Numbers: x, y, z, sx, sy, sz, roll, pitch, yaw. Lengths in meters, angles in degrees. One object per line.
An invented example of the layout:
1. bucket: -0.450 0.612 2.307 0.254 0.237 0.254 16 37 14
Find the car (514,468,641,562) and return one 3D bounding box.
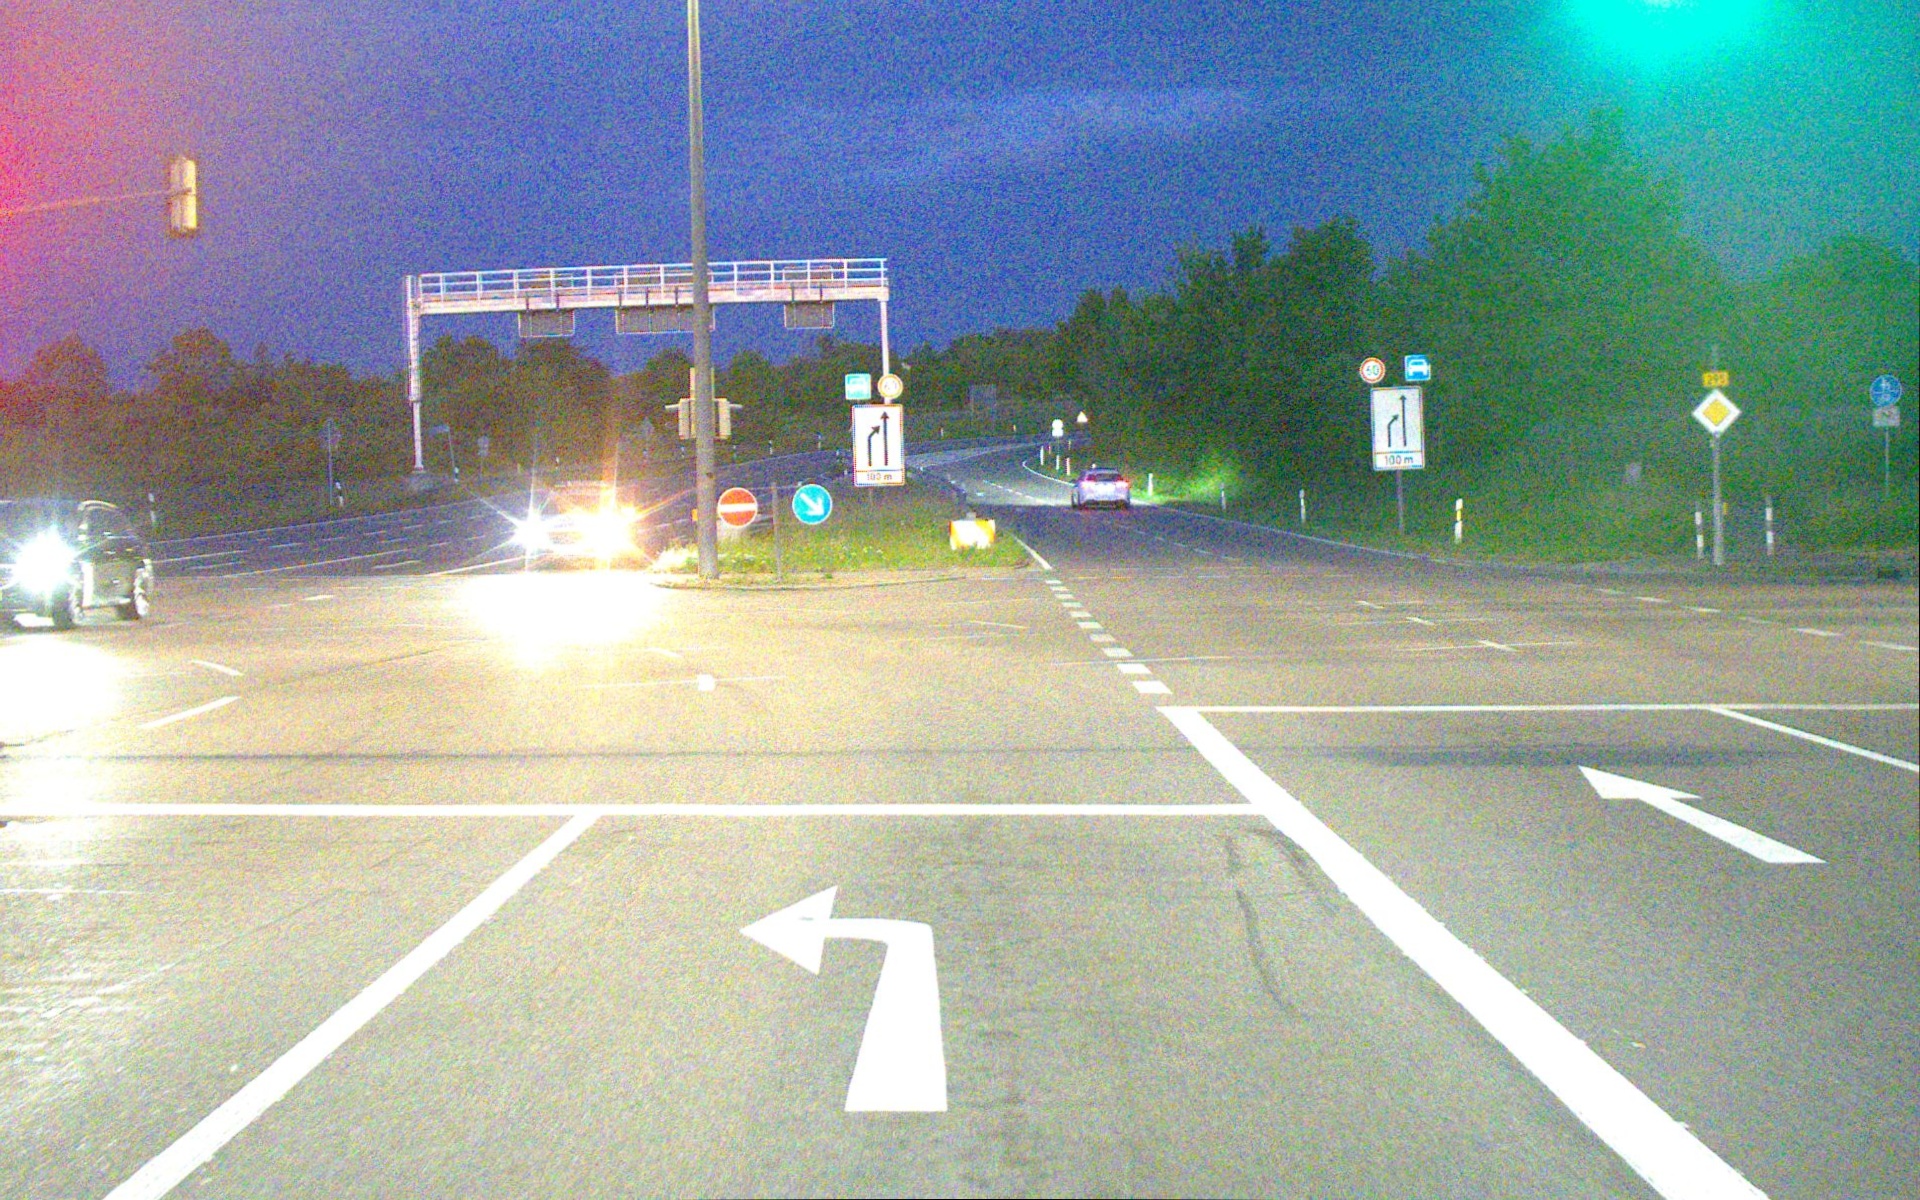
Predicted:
1. car: -7.155 -1.622 64.657 1.993 1.692 4.001 0 2 -1

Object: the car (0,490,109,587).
1. car: -14.575 -0.974 52.739 1.993 1.420 4.533 0 2 -1

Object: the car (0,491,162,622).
1. car: -11.090 -0.563 41.289 1.993 1.476 4.683 0 2 -1

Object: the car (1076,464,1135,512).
1. car: 5.087 -3.901 120.112 2.008 1.605 3.845 0 1 2
